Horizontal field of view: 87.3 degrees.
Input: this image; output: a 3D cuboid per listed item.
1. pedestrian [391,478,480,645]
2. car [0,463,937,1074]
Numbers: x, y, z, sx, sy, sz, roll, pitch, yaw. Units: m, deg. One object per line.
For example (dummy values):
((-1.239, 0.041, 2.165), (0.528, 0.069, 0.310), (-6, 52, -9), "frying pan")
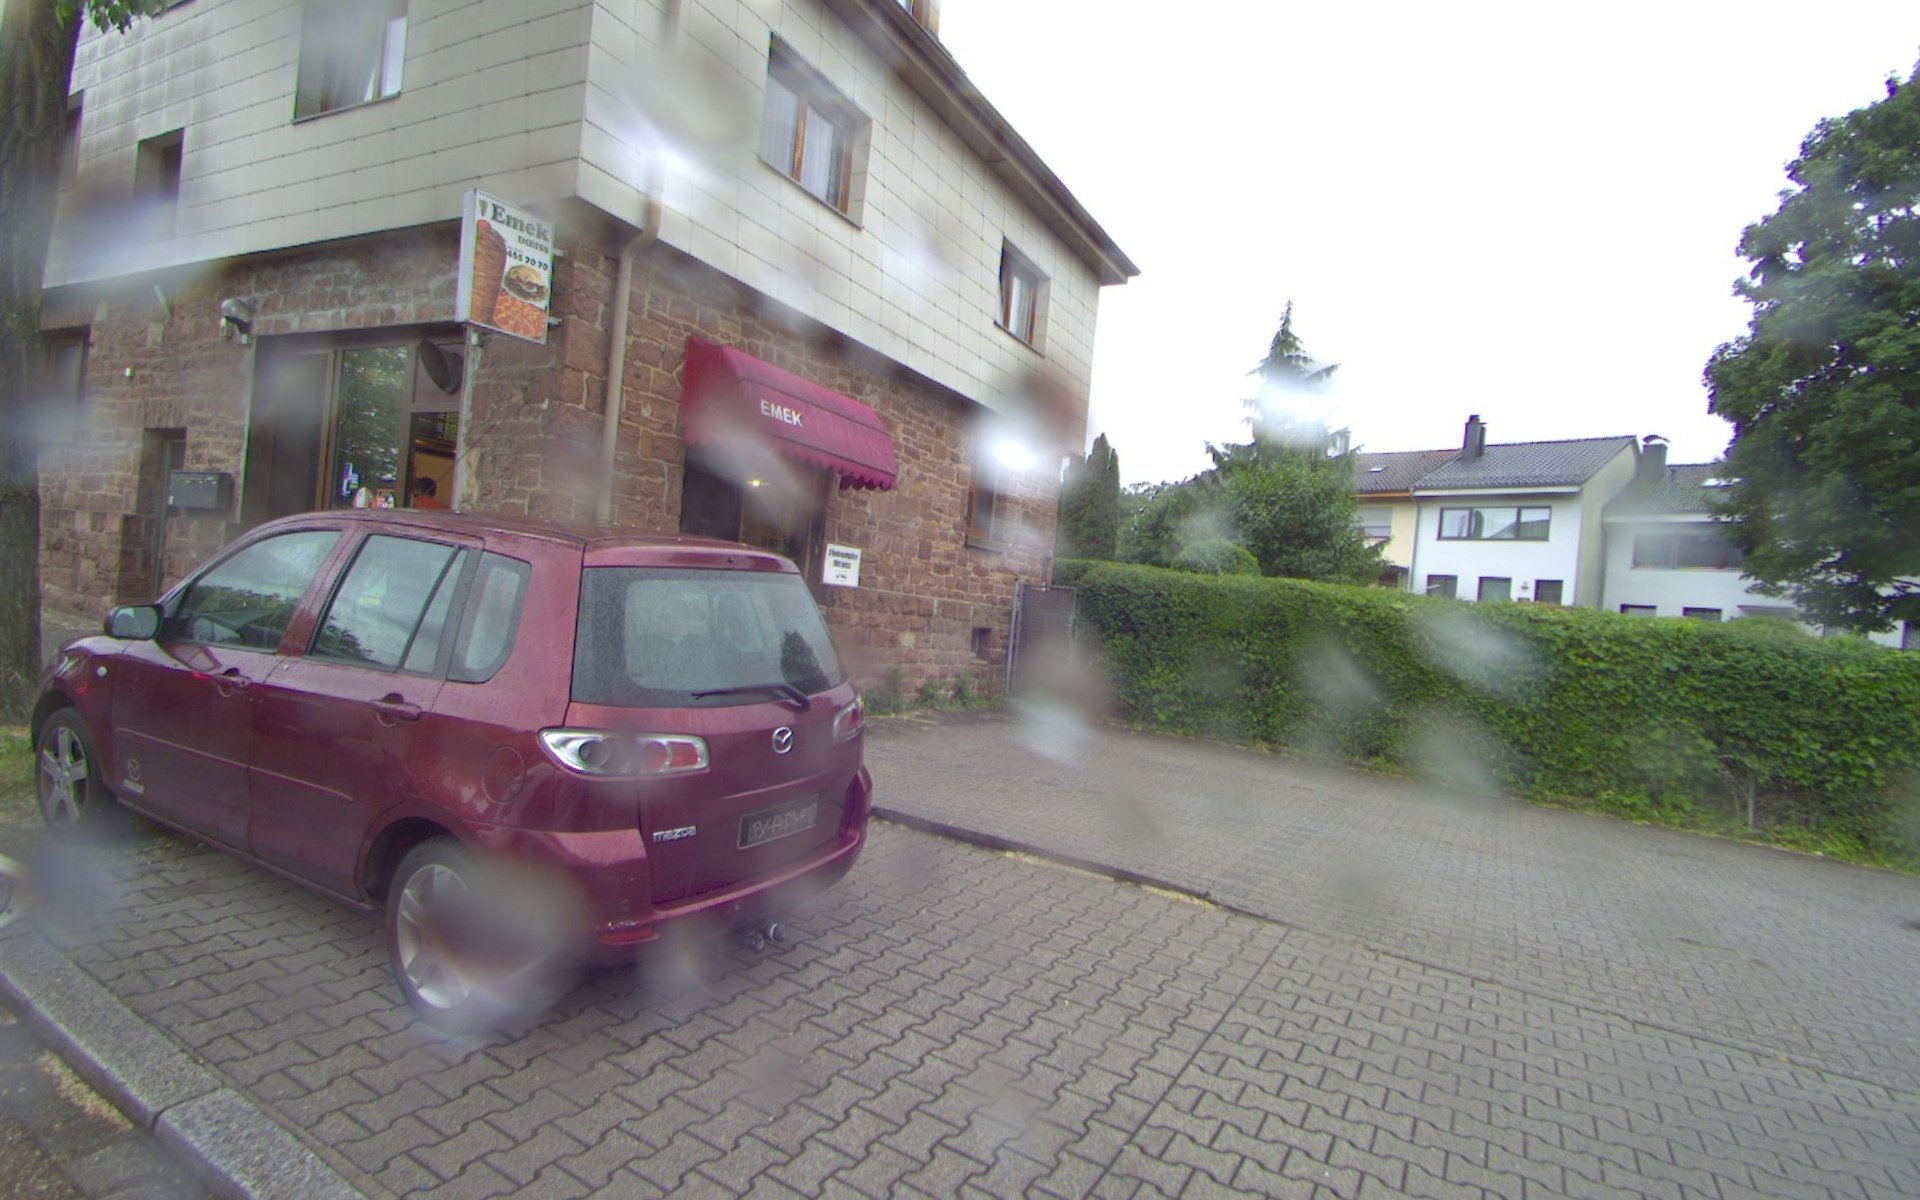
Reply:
((-5.541, -0.399, 10.645), (0.447, 1.679, 0.493), (7, -1, 31), "pedestrian")
((-2.153, 0.373, 4.119), (3.692, 1.521, 1.614), (5, -3, 29), "car")
